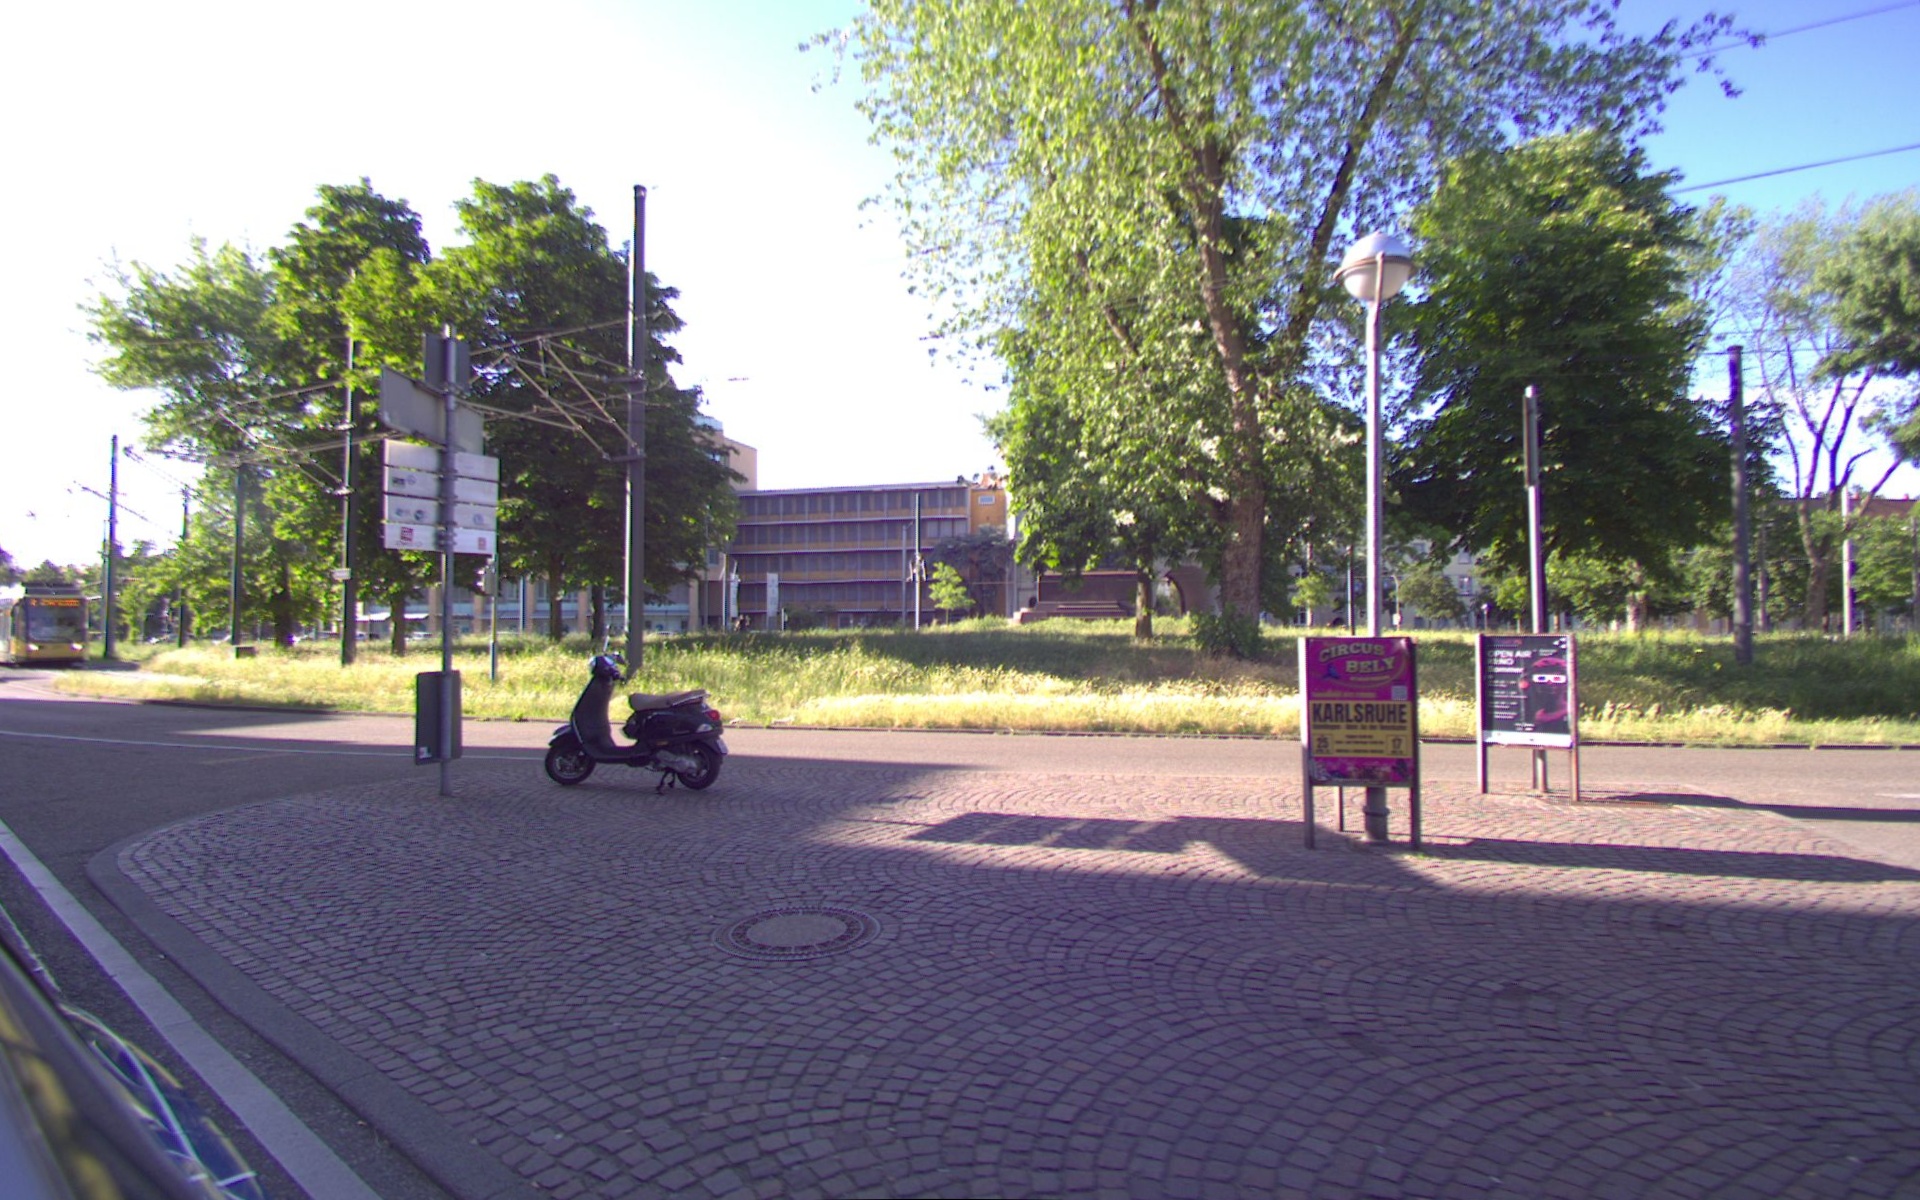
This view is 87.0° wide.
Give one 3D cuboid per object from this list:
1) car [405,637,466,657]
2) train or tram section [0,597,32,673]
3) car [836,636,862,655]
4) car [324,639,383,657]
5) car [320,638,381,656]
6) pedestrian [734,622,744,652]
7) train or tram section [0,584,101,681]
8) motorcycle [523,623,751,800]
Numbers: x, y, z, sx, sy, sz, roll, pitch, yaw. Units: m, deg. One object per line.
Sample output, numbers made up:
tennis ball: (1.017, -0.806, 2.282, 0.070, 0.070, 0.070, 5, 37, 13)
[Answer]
car: (-45.425, 4.080, 87.676, 4.613, 1.608, 1.990, 0, 0, 15)
train or tram section: (-51.356, 1.853, 52.167, 13.614, 3.640, 2.921, -2, -2, 38)
car: (-10.545, 4.284, 96.251, 1.967, 1.593, 4.010, 0, 0, -13)
car: (-59.900, 4.692, 99.988, 5.165, 1.681, 2.113, 0, 0, 16)
car: (-53.984, 4.144, 89.655, 4.980, 1.458, 1.987, 0, 0, 19)
pedestrian: (-12.238, 2.049, 56.019, 0.546, 1.628, 0.676, 0, 0, -12)
train or tram section: (-41.038, 1.465, 44.056, 13.164, 3.713, 2.921, -2, -2, 38)
motorcycle: (-2.734, 0.892, 8.593, 1.746, 1.384, 0.744, 0, 0, 18)
